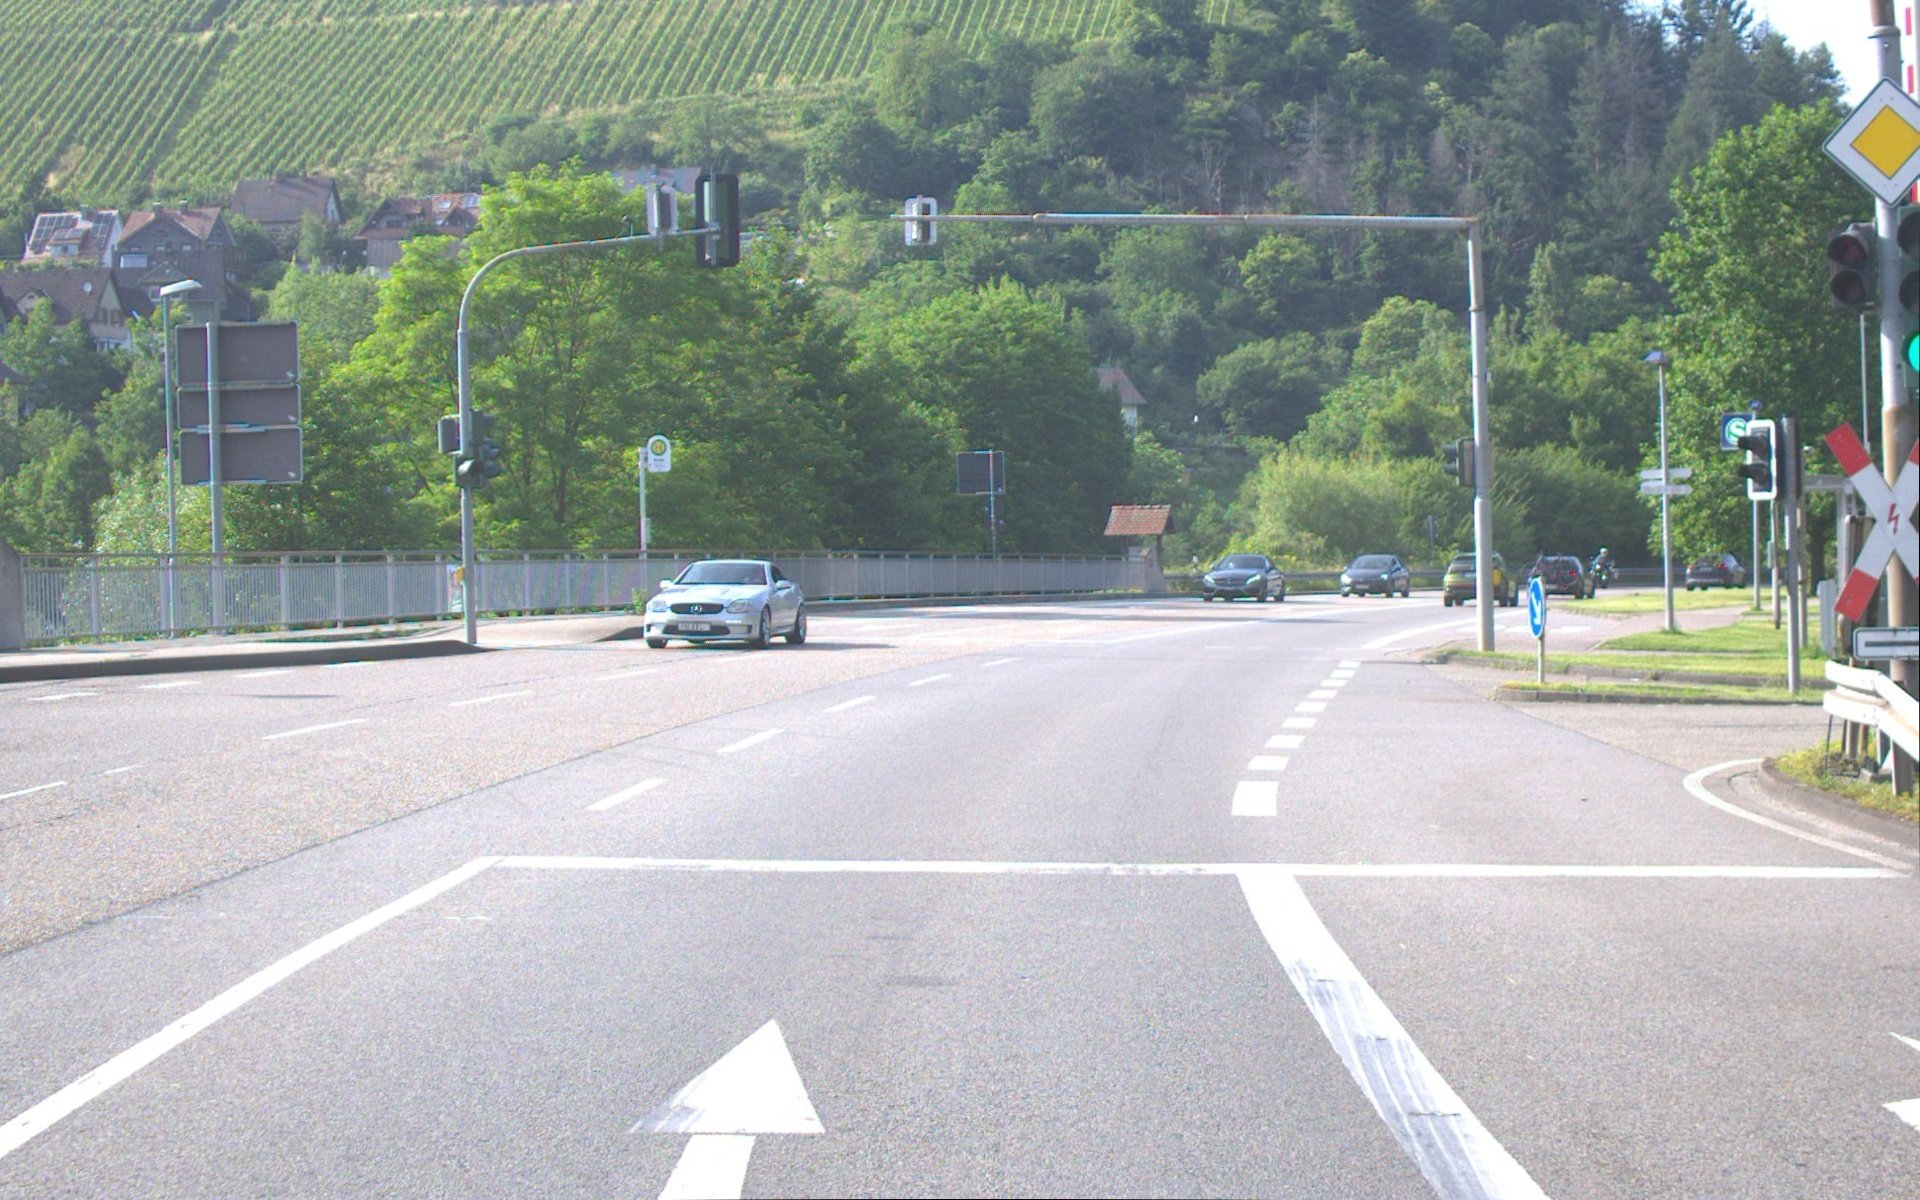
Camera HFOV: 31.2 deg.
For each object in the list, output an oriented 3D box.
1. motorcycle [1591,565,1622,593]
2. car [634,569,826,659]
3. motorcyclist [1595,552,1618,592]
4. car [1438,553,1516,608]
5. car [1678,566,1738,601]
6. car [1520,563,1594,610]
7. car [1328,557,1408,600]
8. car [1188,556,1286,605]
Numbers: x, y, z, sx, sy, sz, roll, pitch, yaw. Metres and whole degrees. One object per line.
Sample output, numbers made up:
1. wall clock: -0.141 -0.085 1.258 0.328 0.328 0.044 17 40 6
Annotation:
1. motorcycle: 28.830 -0.951 153.305 0.973 1.217 2.569 1 1 20
2. car: -3.289 0.172 49.883 1.646 1.227 4.091 0 1 13
3. motorcyclist: 28.821 -1.234 153.263 0.845 1.778 1.170 1 1 20
4. car: 14.266 -0.528 94.760 1.729 1.452 3.408 -2 -1 15
5. car: 31.877 -0.703 146.522 1.809 1.448 3.642 -2 -1 23
6. car: 19.856 -0.448 114.252 1.842 1.454 3.709 -2 -1 19
7. car: 14.232 -0.748 119.686 1.787 1.474 4.749 0 0 19
8. car: 8.233 -0.572 101.821 1.772 1.373 4.640 2 1 19
